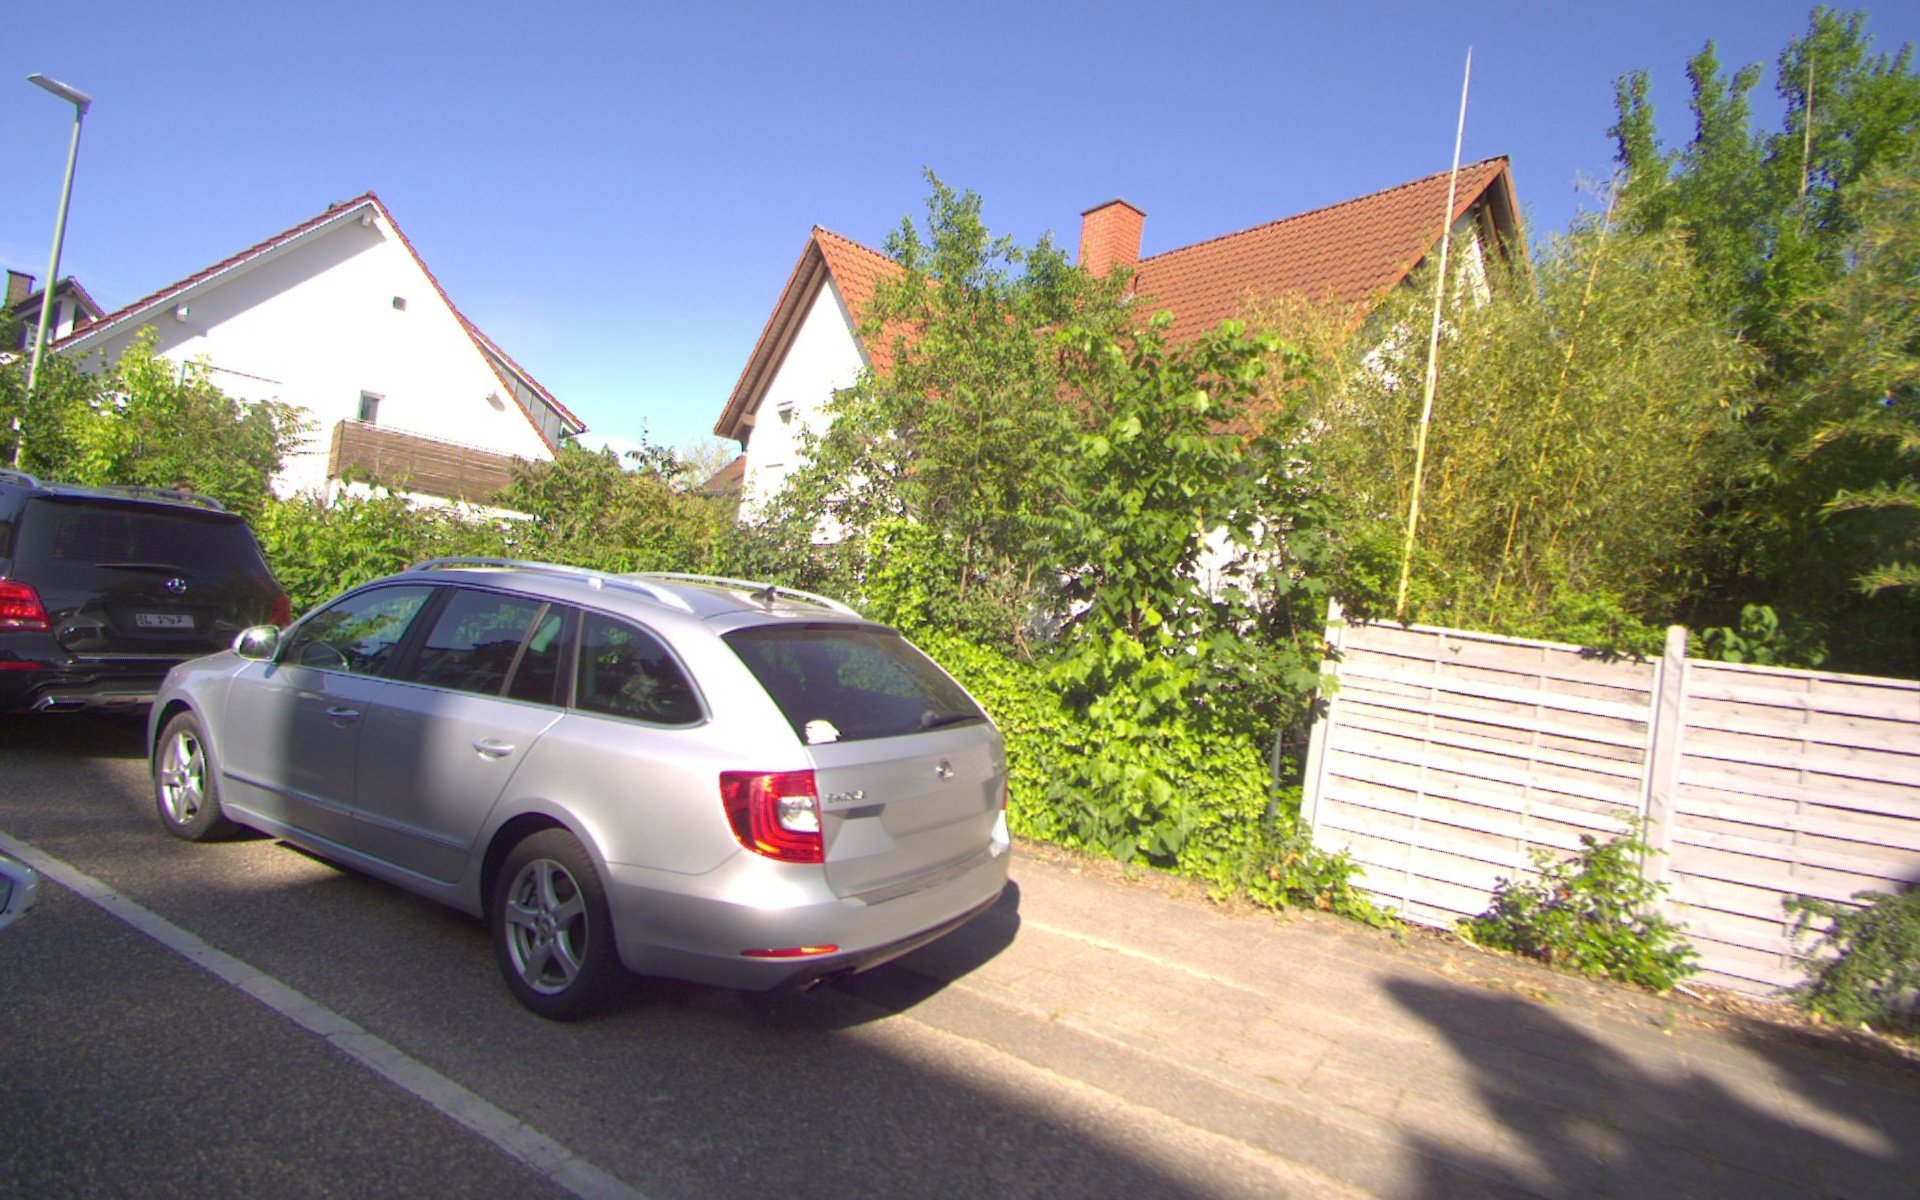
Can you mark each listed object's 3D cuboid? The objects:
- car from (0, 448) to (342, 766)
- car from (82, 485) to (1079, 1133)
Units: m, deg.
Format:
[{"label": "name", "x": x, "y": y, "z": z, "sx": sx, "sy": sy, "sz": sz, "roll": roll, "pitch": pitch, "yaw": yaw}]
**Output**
[{"label": "car", "x": -6.680, "y": -0.113, "z": 7.050, "sx": 4.316, "sy": 1.695, "sz": 1.769, "roll": 7, "pitch": -2, "yaw": 25}, {"label": "car", "x": -1.985, "y": 0.519, "z": 4.682, "sx": 4.585, "sy": 1.581, "sz": 1.767, "roll": 7, "pitch": -2, "yaw": 32}]
